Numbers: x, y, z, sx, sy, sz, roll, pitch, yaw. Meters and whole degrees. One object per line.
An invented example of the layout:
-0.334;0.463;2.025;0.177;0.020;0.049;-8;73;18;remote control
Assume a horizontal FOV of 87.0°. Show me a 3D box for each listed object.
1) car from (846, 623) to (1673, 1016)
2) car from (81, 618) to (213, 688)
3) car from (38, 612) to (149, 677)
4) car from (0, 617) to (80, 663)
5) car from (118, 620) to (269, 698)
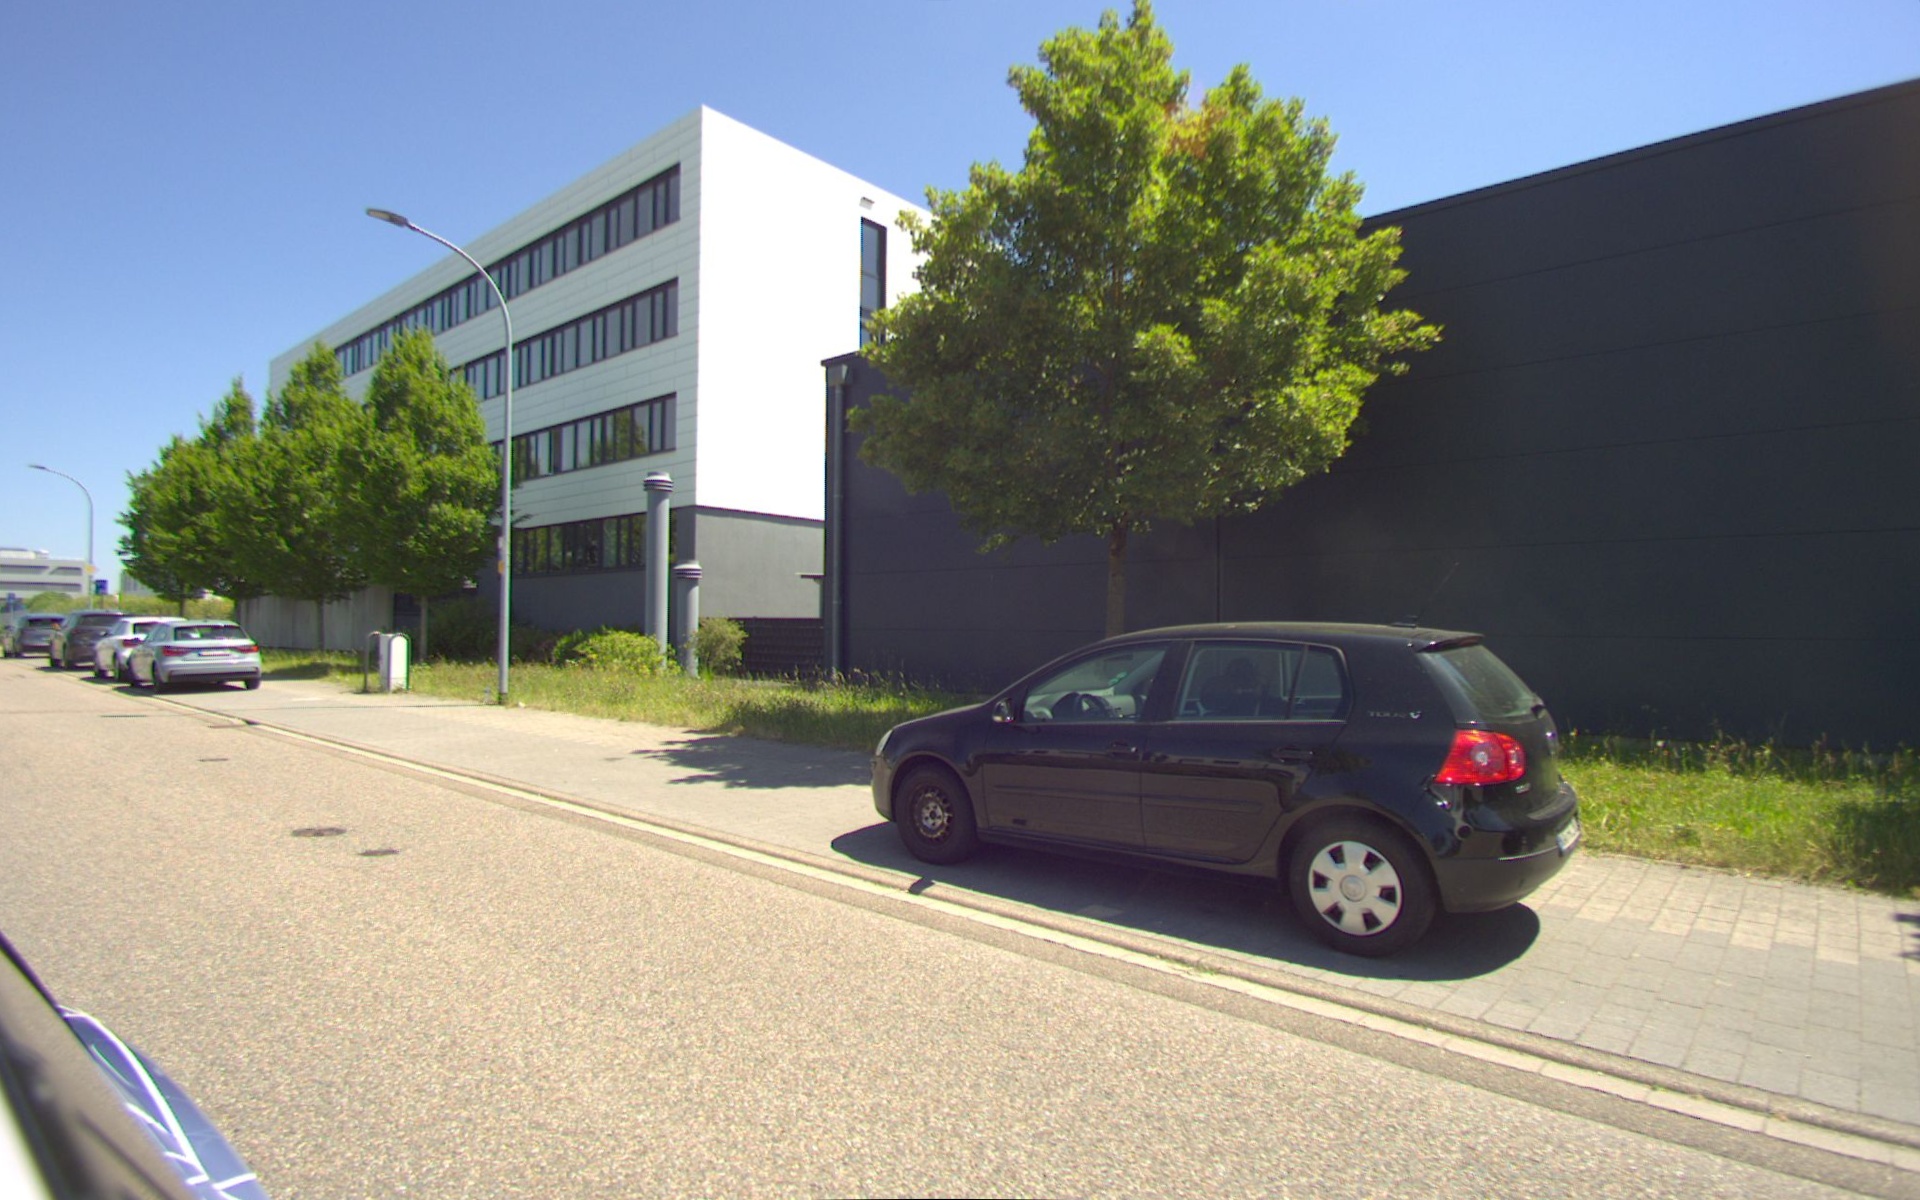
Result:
1.425;0.856;5.790;4.198;1.442;1.752;-1;-2;41;car
-19.511;1.208;24.230;4.199;1.441;1.752;-1;1;42;car
-24.795;1.207;28.913;4.580;1.636;1.752;-1;1;42;car
-34.166;1.463;37.403;4.477;1.600;1.753;-2;-2;40;car
-15.919;1.142;20.953;3.938;1.442;1.752;-1;-1;42;car
